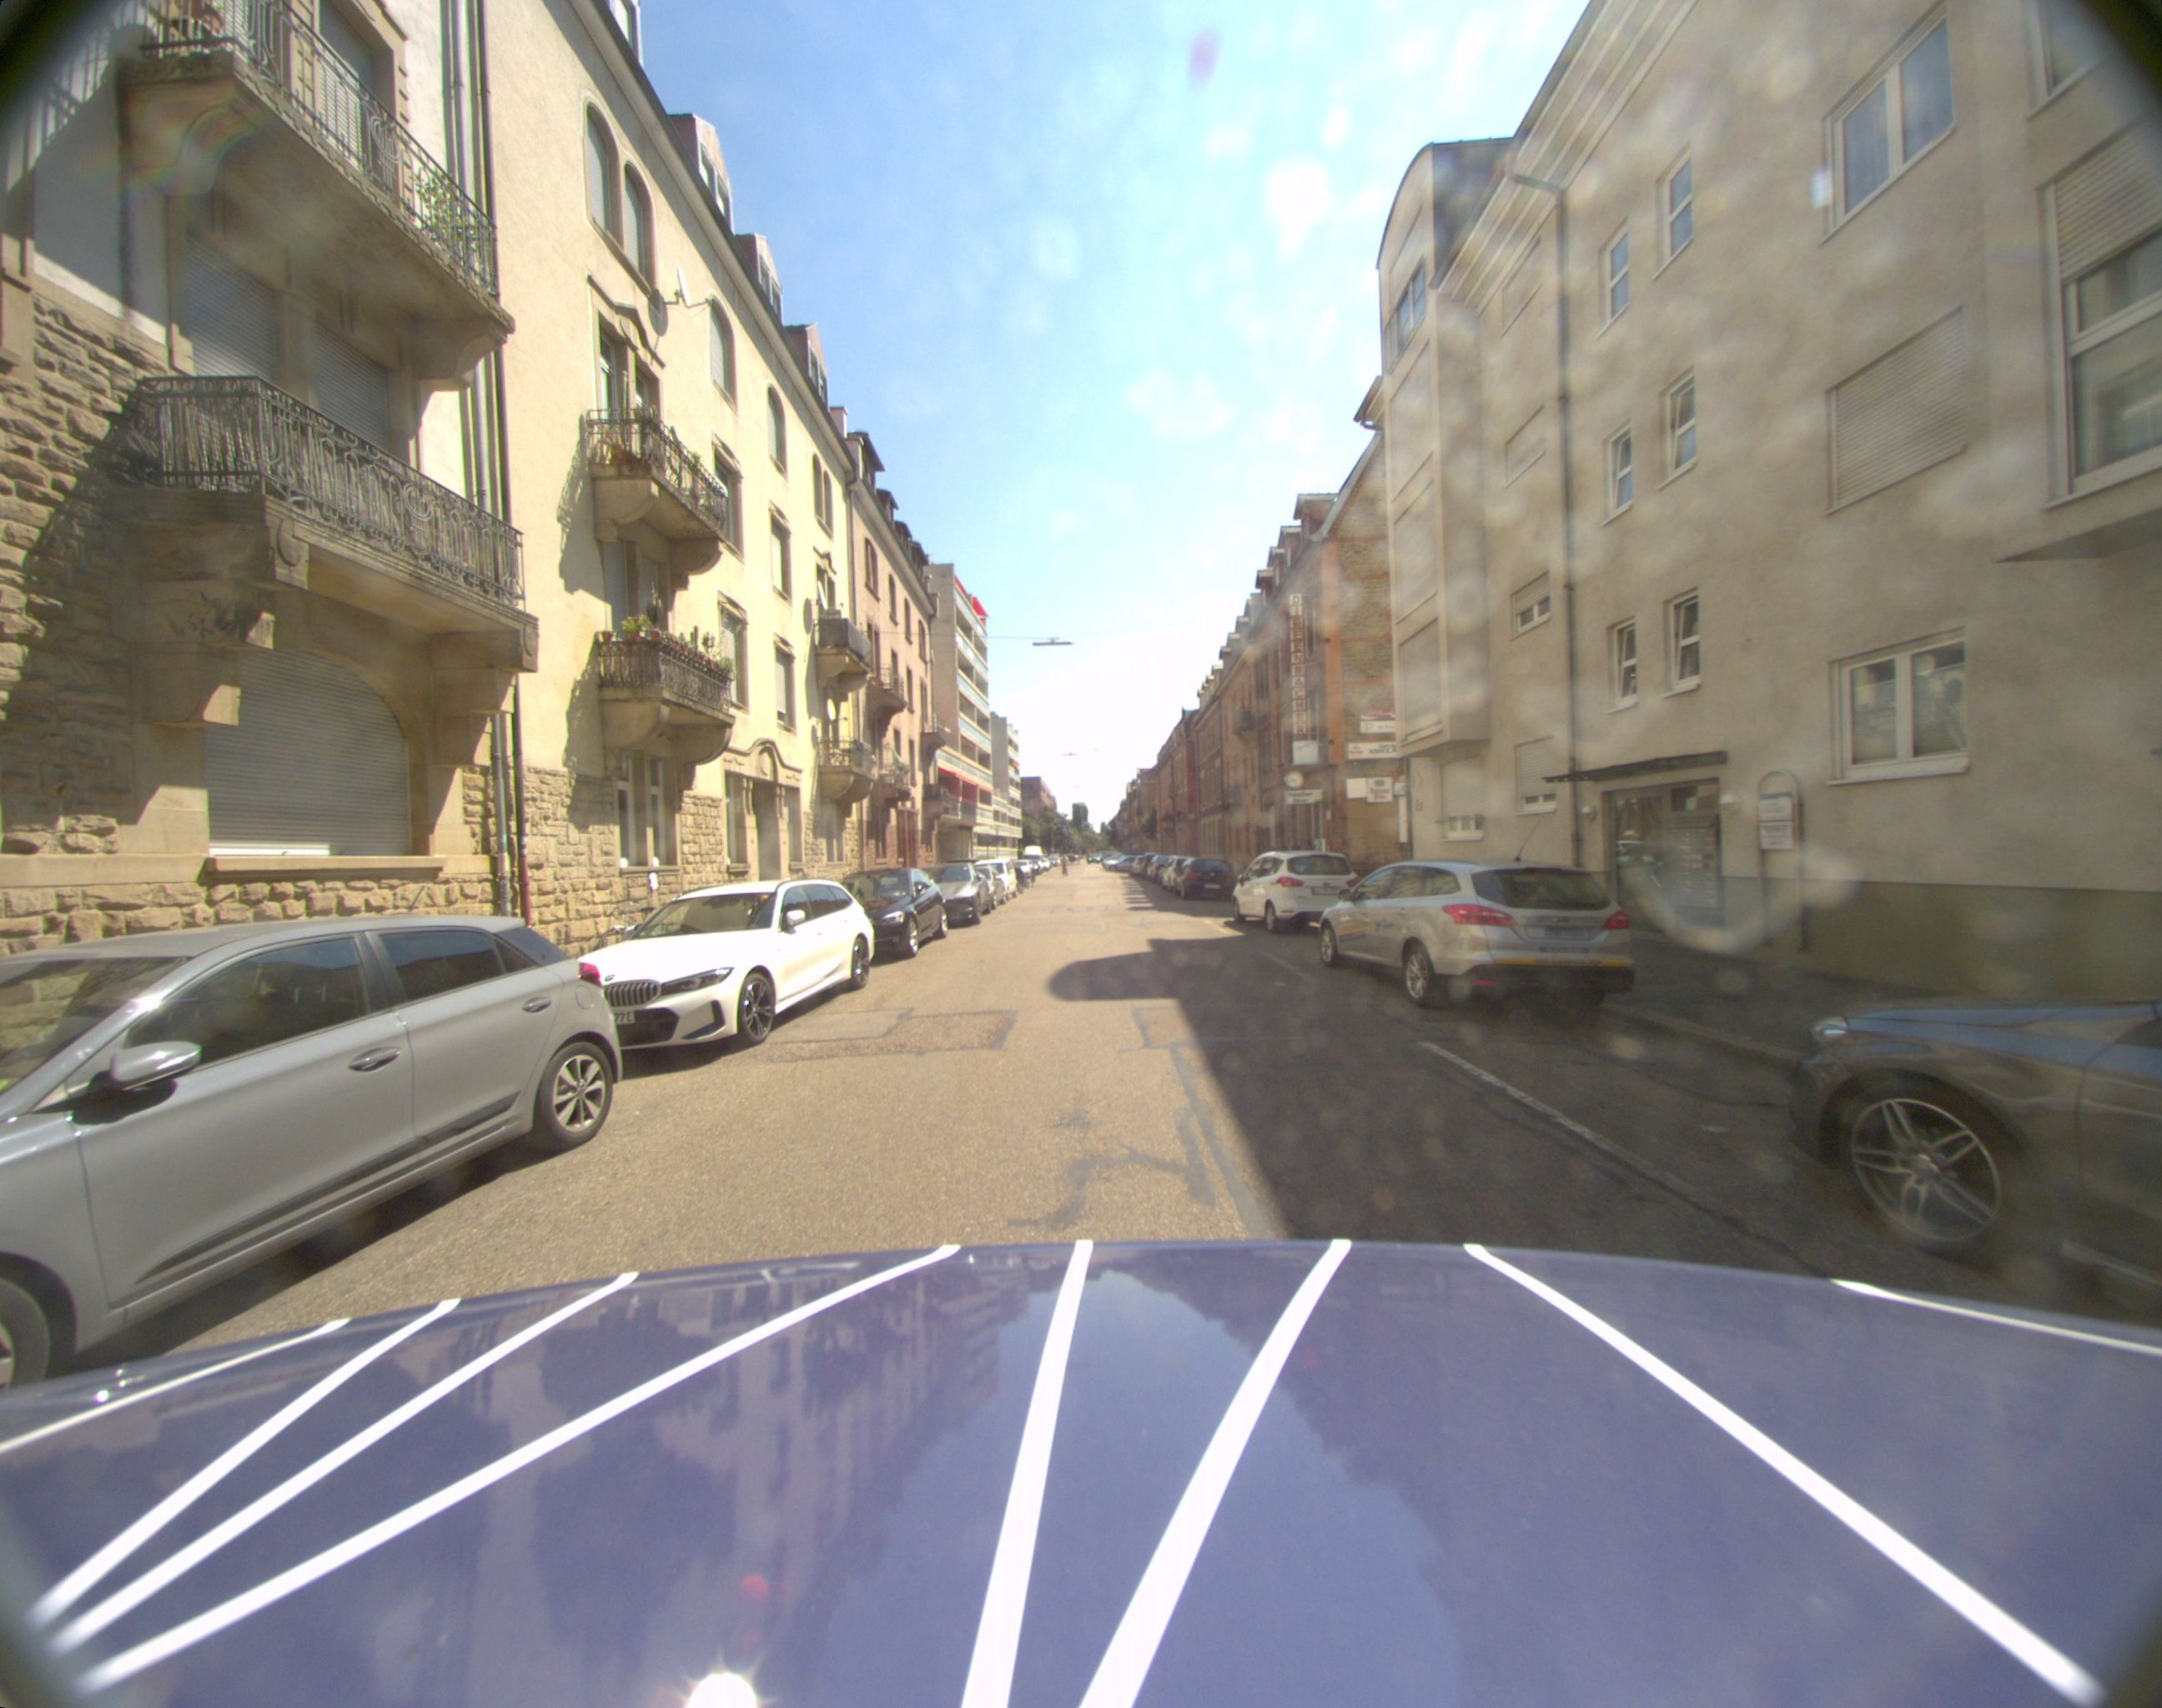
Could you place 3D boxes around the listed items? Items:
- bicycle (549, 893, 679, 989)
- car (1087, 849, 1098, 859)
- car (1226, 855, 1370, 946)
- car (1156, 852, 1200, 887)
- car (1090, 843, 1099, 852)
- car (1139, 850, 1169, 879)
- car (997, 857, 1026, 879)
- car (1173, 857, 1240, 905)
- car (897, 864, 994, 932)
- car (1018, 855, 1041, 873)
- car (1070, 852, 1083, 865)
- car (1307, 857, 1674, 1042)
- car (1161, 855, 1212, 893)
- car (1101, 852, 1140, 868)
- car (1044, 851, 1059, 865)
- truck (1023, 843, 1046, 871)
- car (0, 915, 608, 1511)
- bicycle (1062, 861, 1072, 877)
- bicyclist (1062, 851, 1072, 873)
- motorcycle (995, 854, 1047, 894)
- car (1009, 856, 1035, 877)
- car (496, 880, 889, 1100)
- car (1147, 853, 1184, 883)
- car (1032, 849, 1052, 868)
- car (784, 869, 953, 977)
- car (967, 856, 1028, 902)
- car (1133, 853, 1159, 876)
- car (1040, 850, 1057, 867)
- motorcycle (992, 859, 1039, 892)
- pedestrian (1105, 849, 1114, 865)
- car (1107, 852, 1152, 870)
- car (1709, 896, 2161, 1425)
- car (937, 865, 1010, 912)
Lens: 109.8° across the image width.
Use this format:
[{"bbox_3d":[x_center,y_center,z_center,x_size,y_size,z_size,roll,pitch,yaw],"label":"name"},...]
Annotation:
[{"bbox_3d":[-7.050,1.268,11.618,0.641,1.183,2.125,2,1,1],"label":"bicycle"},{"bbox_3d":[1.826,-0.037,120.671,1.625,1.601,3.597,-2,1,0],"label":"car"},{"bbox_3d":[4.291,0.847,15.639,1.633,1.540,3.852,2,1,-3],"label":"car"},{"bbox_3d":[4.608,0.720,36.516,1.450,1.534,3.524,2,1,-2],"label":"car"},{"bbox_3d":[3.036,-1.407,165.797,1.785,2.002,4.000,-2,1,3],"label":"car"},{"bbox_3d":[4.497,0.620,47.060,1.450,1.633,3.525,2,1,-1],"label":"car"},{"bbox_3d":[-5.074,1.009,55.944,1.754,1.484,3.902,-1,1,0],"label":"car"},{"bbox_3d":[4.293,0.881,26.544,1.781,1.421,3.836,2,1,2],"label":"car"},{"bbox_3d":[-3.395,1.044,19.870,1.828,1.423,4.488,-3,0,-2],"label":"car"},{"bbox_3d":[-4.730,0.931,70.372,1.717,1.543,3.999,-1,1,0],"label":"car"},{"bbox_3d":[-0.667,0.705,118.341,1.826,2.002,3.867,-1,1,0],"label":"car"},{"bbox_3d":[4.121,0.823,8.620,1.735,1.486,4.347,1,1,-1],"label":"car"},{"bbox_3d":[4.333,0.786,31.648,1.632,1.421,3.678,2,1,2],"label":"car"},{"bbox_3d":[4.125,0.645,79.026,3.997,1.491,1.652,-1,1,1],"label":"car"},{"bbox_3d":[-4.161,0.575,106.887,1.792,1.844,3.999,-1,1,0],"label":"car"},{"bbox_3d":[-4.685,0.296,76.898,1.869,2.715,4.507,-1,1,0],"label":"truck"},{"bbox_3d":[-3.870,1.177,2.854,1.593,1.444,3.856,-4,1,1],"label":"car"},{"bbox_3d":[-1.057,1.125,57.873,0.671,1.169,2.094,-1,1,1],"label":"bicycle"},{"bbox_3d":[-1.061,0.615,57.821,0.645,1.640,0.622,-1,1,1],"label":"bicyclist"},{"bbox_3d":[-2.733,0.922,34.800,2.197,1.613,0.764,-6,2,-40],"label":"motorcycle"},{"bbox_3d":[-4.679,0.963,60.699,1.754,1.484,3.902,-1,1,0],"label":"car"},{"bbox_3d":[-3.689,1.175,8.371,1.720,1.444,4.597,-4,1,2],"label":"car"},{"bbox_3d":[4.500,0.727,40.863,1.450,1.464,3.525,2,1,-2],"label":"car"},{"bbox_3d":[-4.210,0.467,82.289,1.902,2.002,3.999,-1,1,0],"label":"car"},{"bbox_3d":[-3.626,1.098,13.911,1.741,1.449,4.667,-2,1,0],"label":"car"},{"bbox_3d":[-3.277,0.955,30.551,1.651,1.613,4.092,-1,1,4],"label":"car"},{"bbox_3d":[4.433,0.697,51.997,1.450,1.391,3.525,2,1,1],"label":"car"},{"bbox_3d":[-4.266,0.565,99.659,1.902,2.002,3.999,-1,1,0],"label":"car"},{"bbox_3d":[-3.279,1.050,37.951,2.197,1.422,0.733,-6,2,-40],"label":"motorcycle"},{"bbox_3d":[3.387,0.334,90.385,0.883,1.823,0.874,-3,1,2],"label":"pedestrian"},{"bbox_3d":[4.353,0.619,68.722,3.996,1.422,1.678,-1,1,1],"label":"car"},{"bbox_3d":[3.923,0.917,1.466,1.769,1.385,4.347,0,1,-1],"label":"car"},{"bbox_3d":[-3.509,1.095,25.514,1.791,1.350,4.352,-2,0,0],"label":"car"}]
